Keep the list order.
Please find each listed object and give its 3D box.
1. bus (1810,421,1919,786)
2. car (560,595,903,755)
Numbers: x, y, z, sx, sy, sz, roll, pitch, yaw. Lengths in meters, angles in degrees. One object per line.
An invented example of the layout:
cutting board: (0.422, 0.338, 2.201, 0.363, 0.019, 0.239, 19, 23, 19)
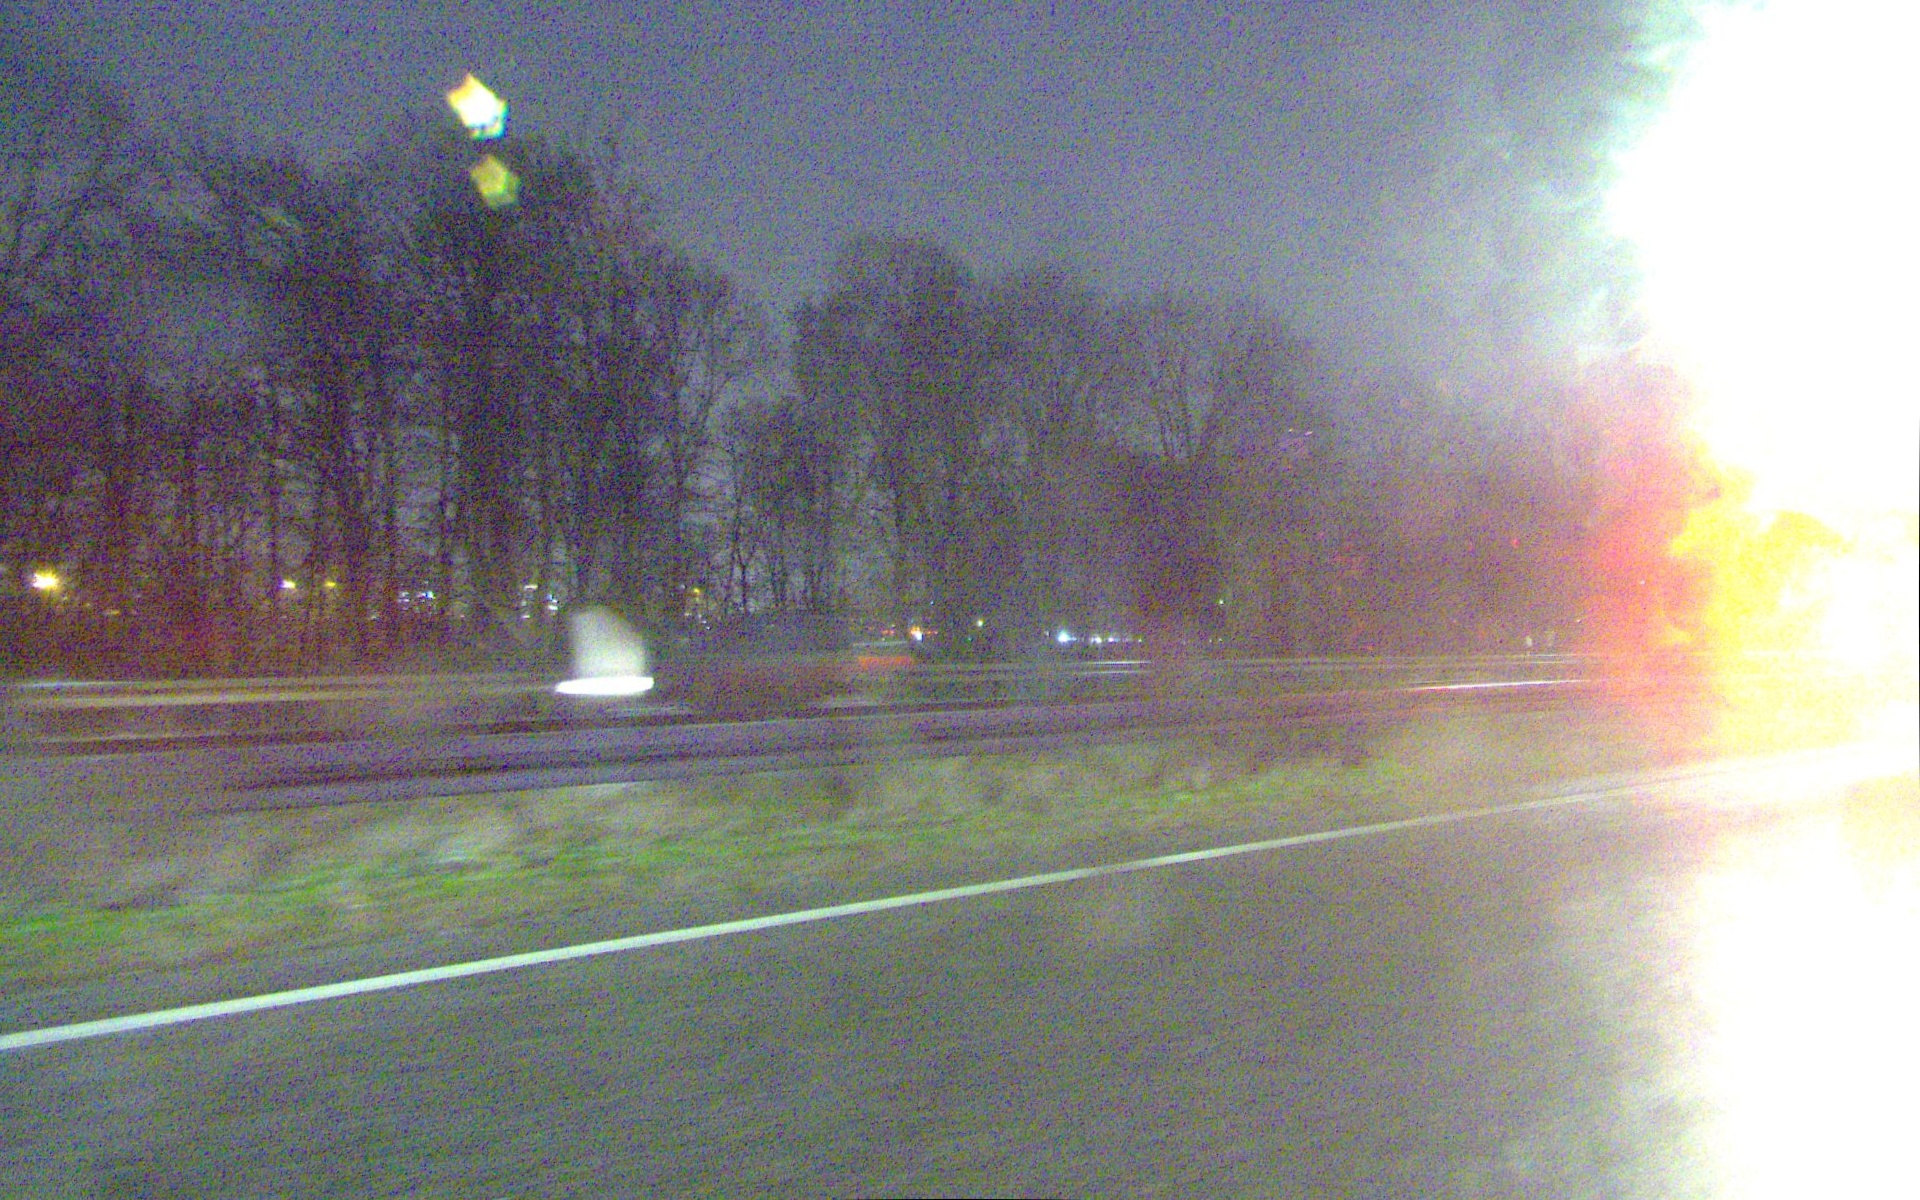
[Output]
bus: (12.536, 0.105, 10.530, 9.096, 3.165, 2.729, 1, 1, -31)
car: (-3.103, 0.964, 13.774, 4.151, 1.833, 1.984, 3, 0, -30)
